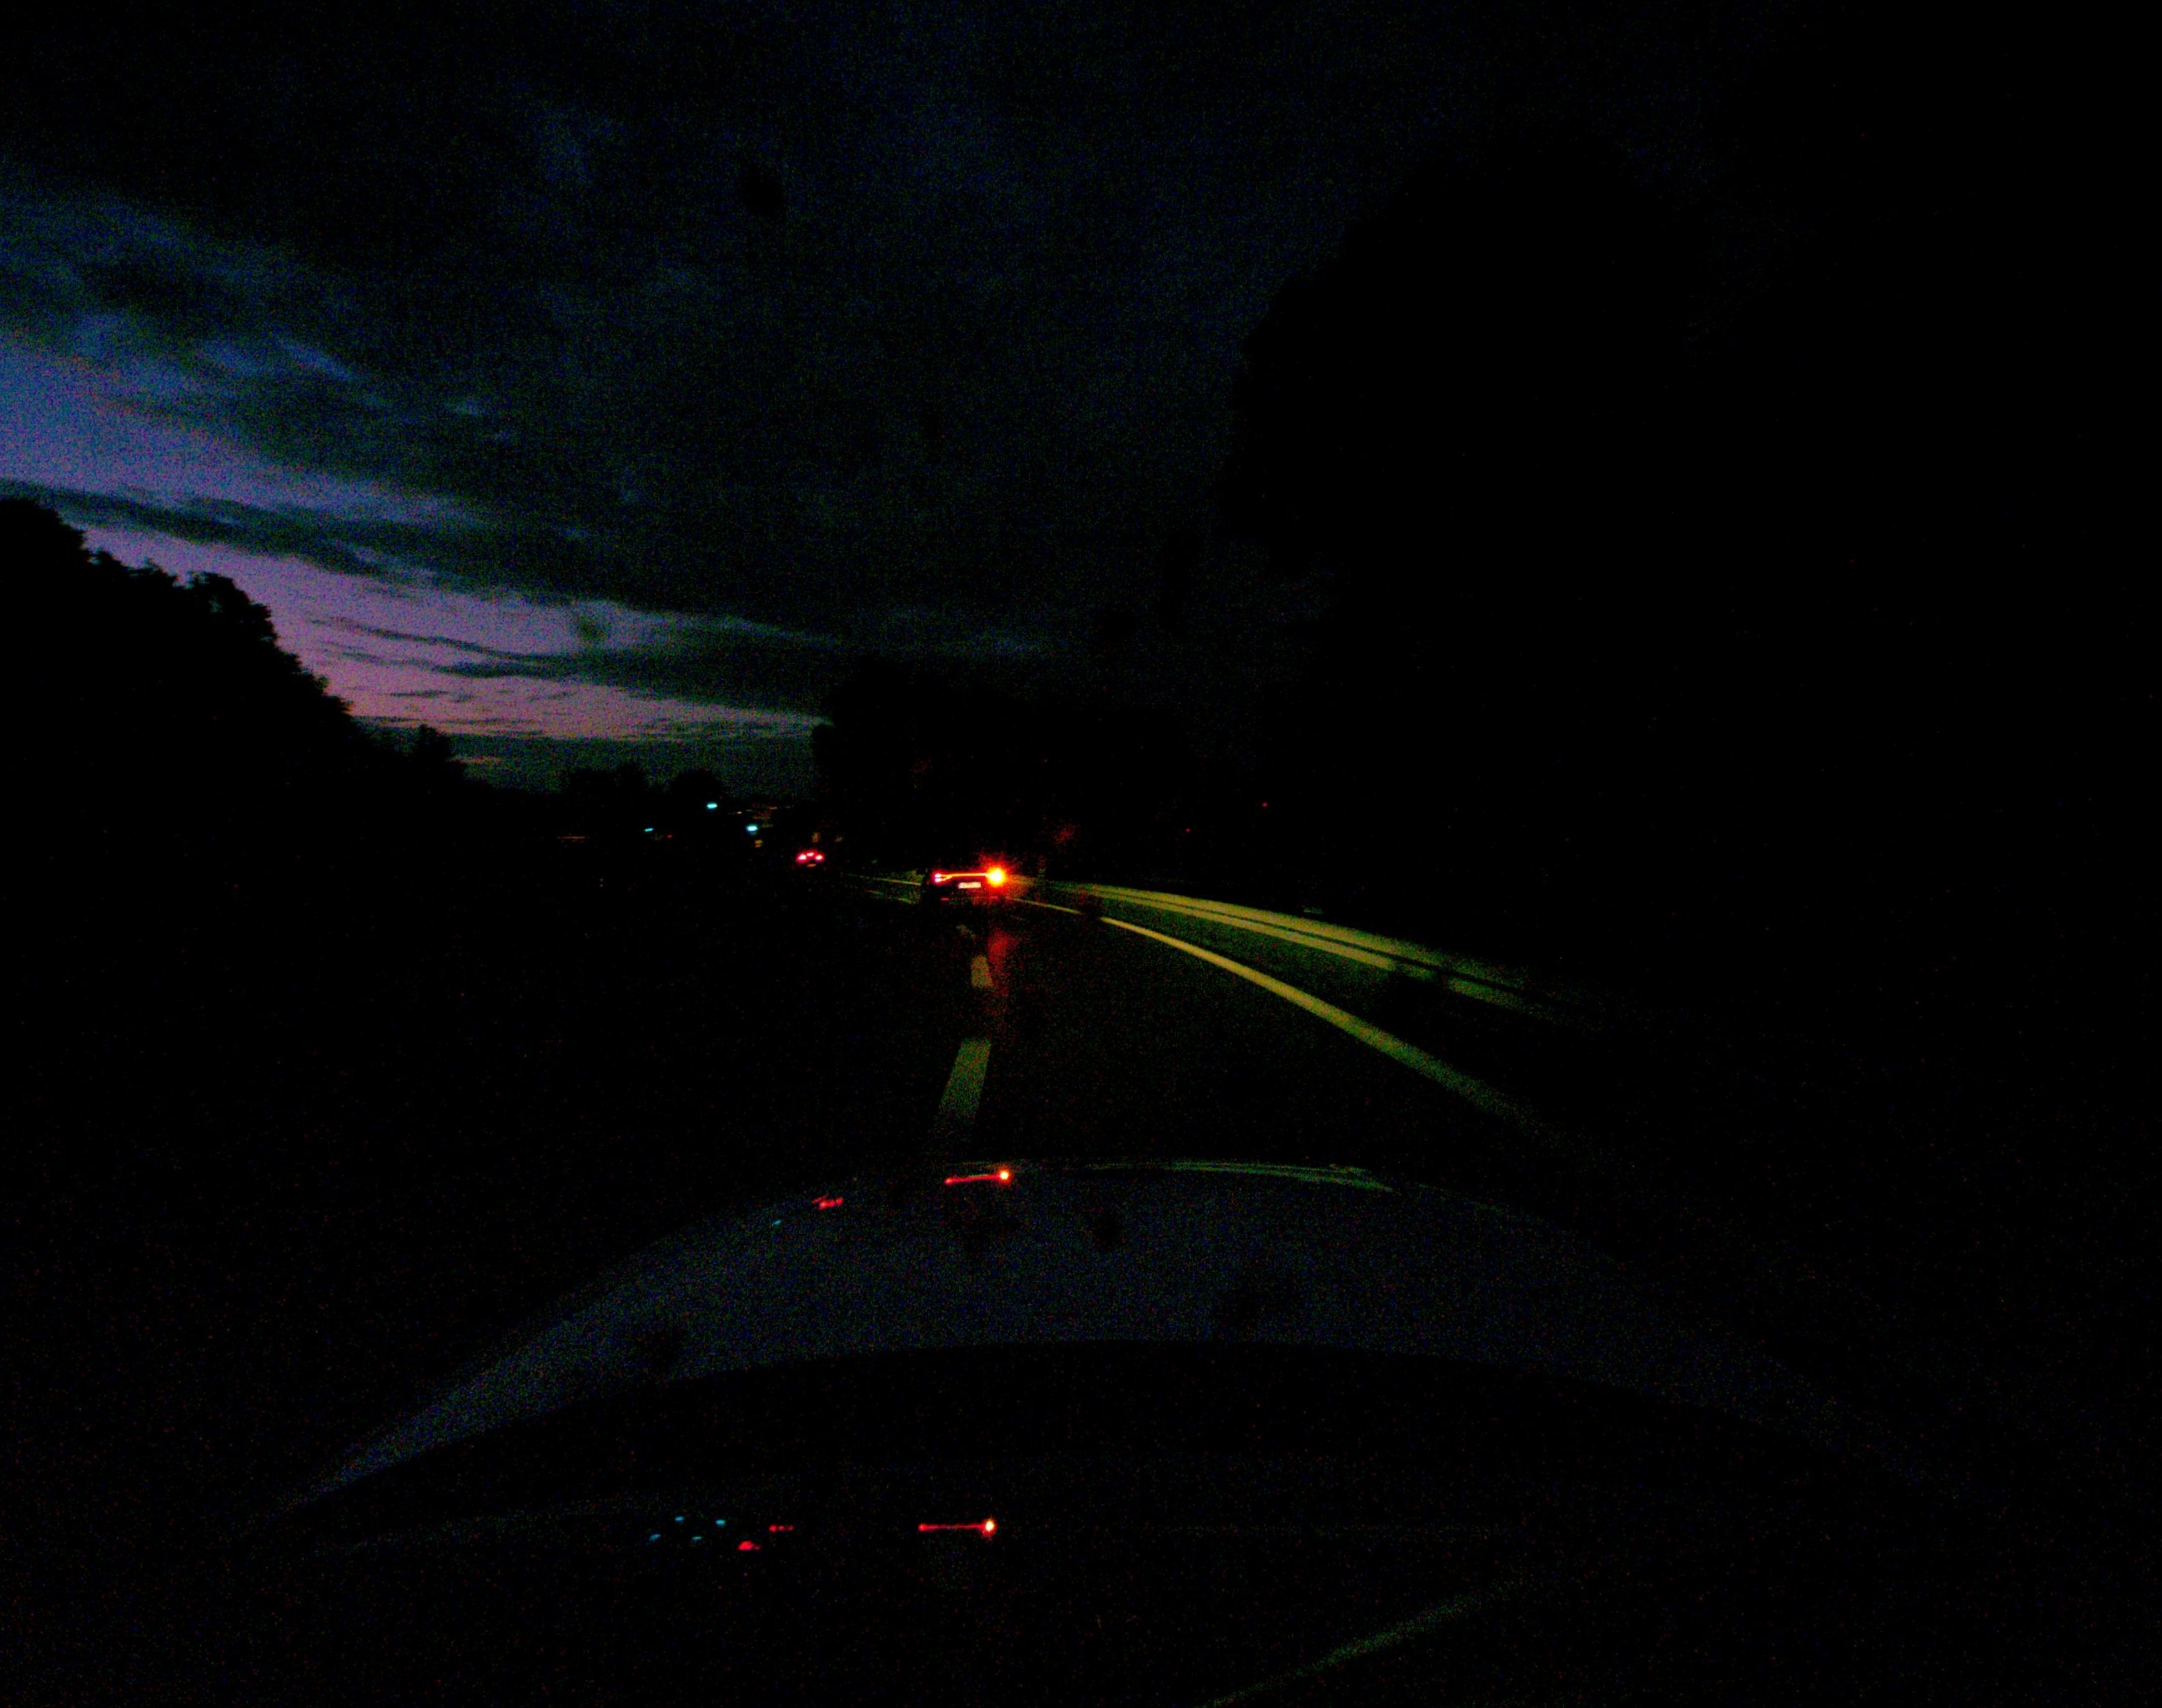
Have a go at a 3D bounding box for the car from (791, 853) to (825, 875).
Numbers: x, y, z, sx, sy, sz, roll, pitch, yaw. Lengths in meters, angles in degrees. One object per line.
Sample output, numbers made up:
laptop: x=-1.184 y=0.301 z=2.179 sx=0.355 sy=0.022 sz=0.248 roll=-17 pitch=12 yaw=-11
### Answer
car: x=-20.771 y=0.773 z=61.931 sx=1.791 sy=1.653 sz=3.963 roll=1 pitch=-1 yaw=-28

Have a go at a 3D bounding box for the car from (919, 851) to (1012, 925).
car: x=-3.102 y=0.807 z=21.052 sx=1.903 sy=1.620 sz=4.534 roll=-2 pitch=0 yaw=-14
